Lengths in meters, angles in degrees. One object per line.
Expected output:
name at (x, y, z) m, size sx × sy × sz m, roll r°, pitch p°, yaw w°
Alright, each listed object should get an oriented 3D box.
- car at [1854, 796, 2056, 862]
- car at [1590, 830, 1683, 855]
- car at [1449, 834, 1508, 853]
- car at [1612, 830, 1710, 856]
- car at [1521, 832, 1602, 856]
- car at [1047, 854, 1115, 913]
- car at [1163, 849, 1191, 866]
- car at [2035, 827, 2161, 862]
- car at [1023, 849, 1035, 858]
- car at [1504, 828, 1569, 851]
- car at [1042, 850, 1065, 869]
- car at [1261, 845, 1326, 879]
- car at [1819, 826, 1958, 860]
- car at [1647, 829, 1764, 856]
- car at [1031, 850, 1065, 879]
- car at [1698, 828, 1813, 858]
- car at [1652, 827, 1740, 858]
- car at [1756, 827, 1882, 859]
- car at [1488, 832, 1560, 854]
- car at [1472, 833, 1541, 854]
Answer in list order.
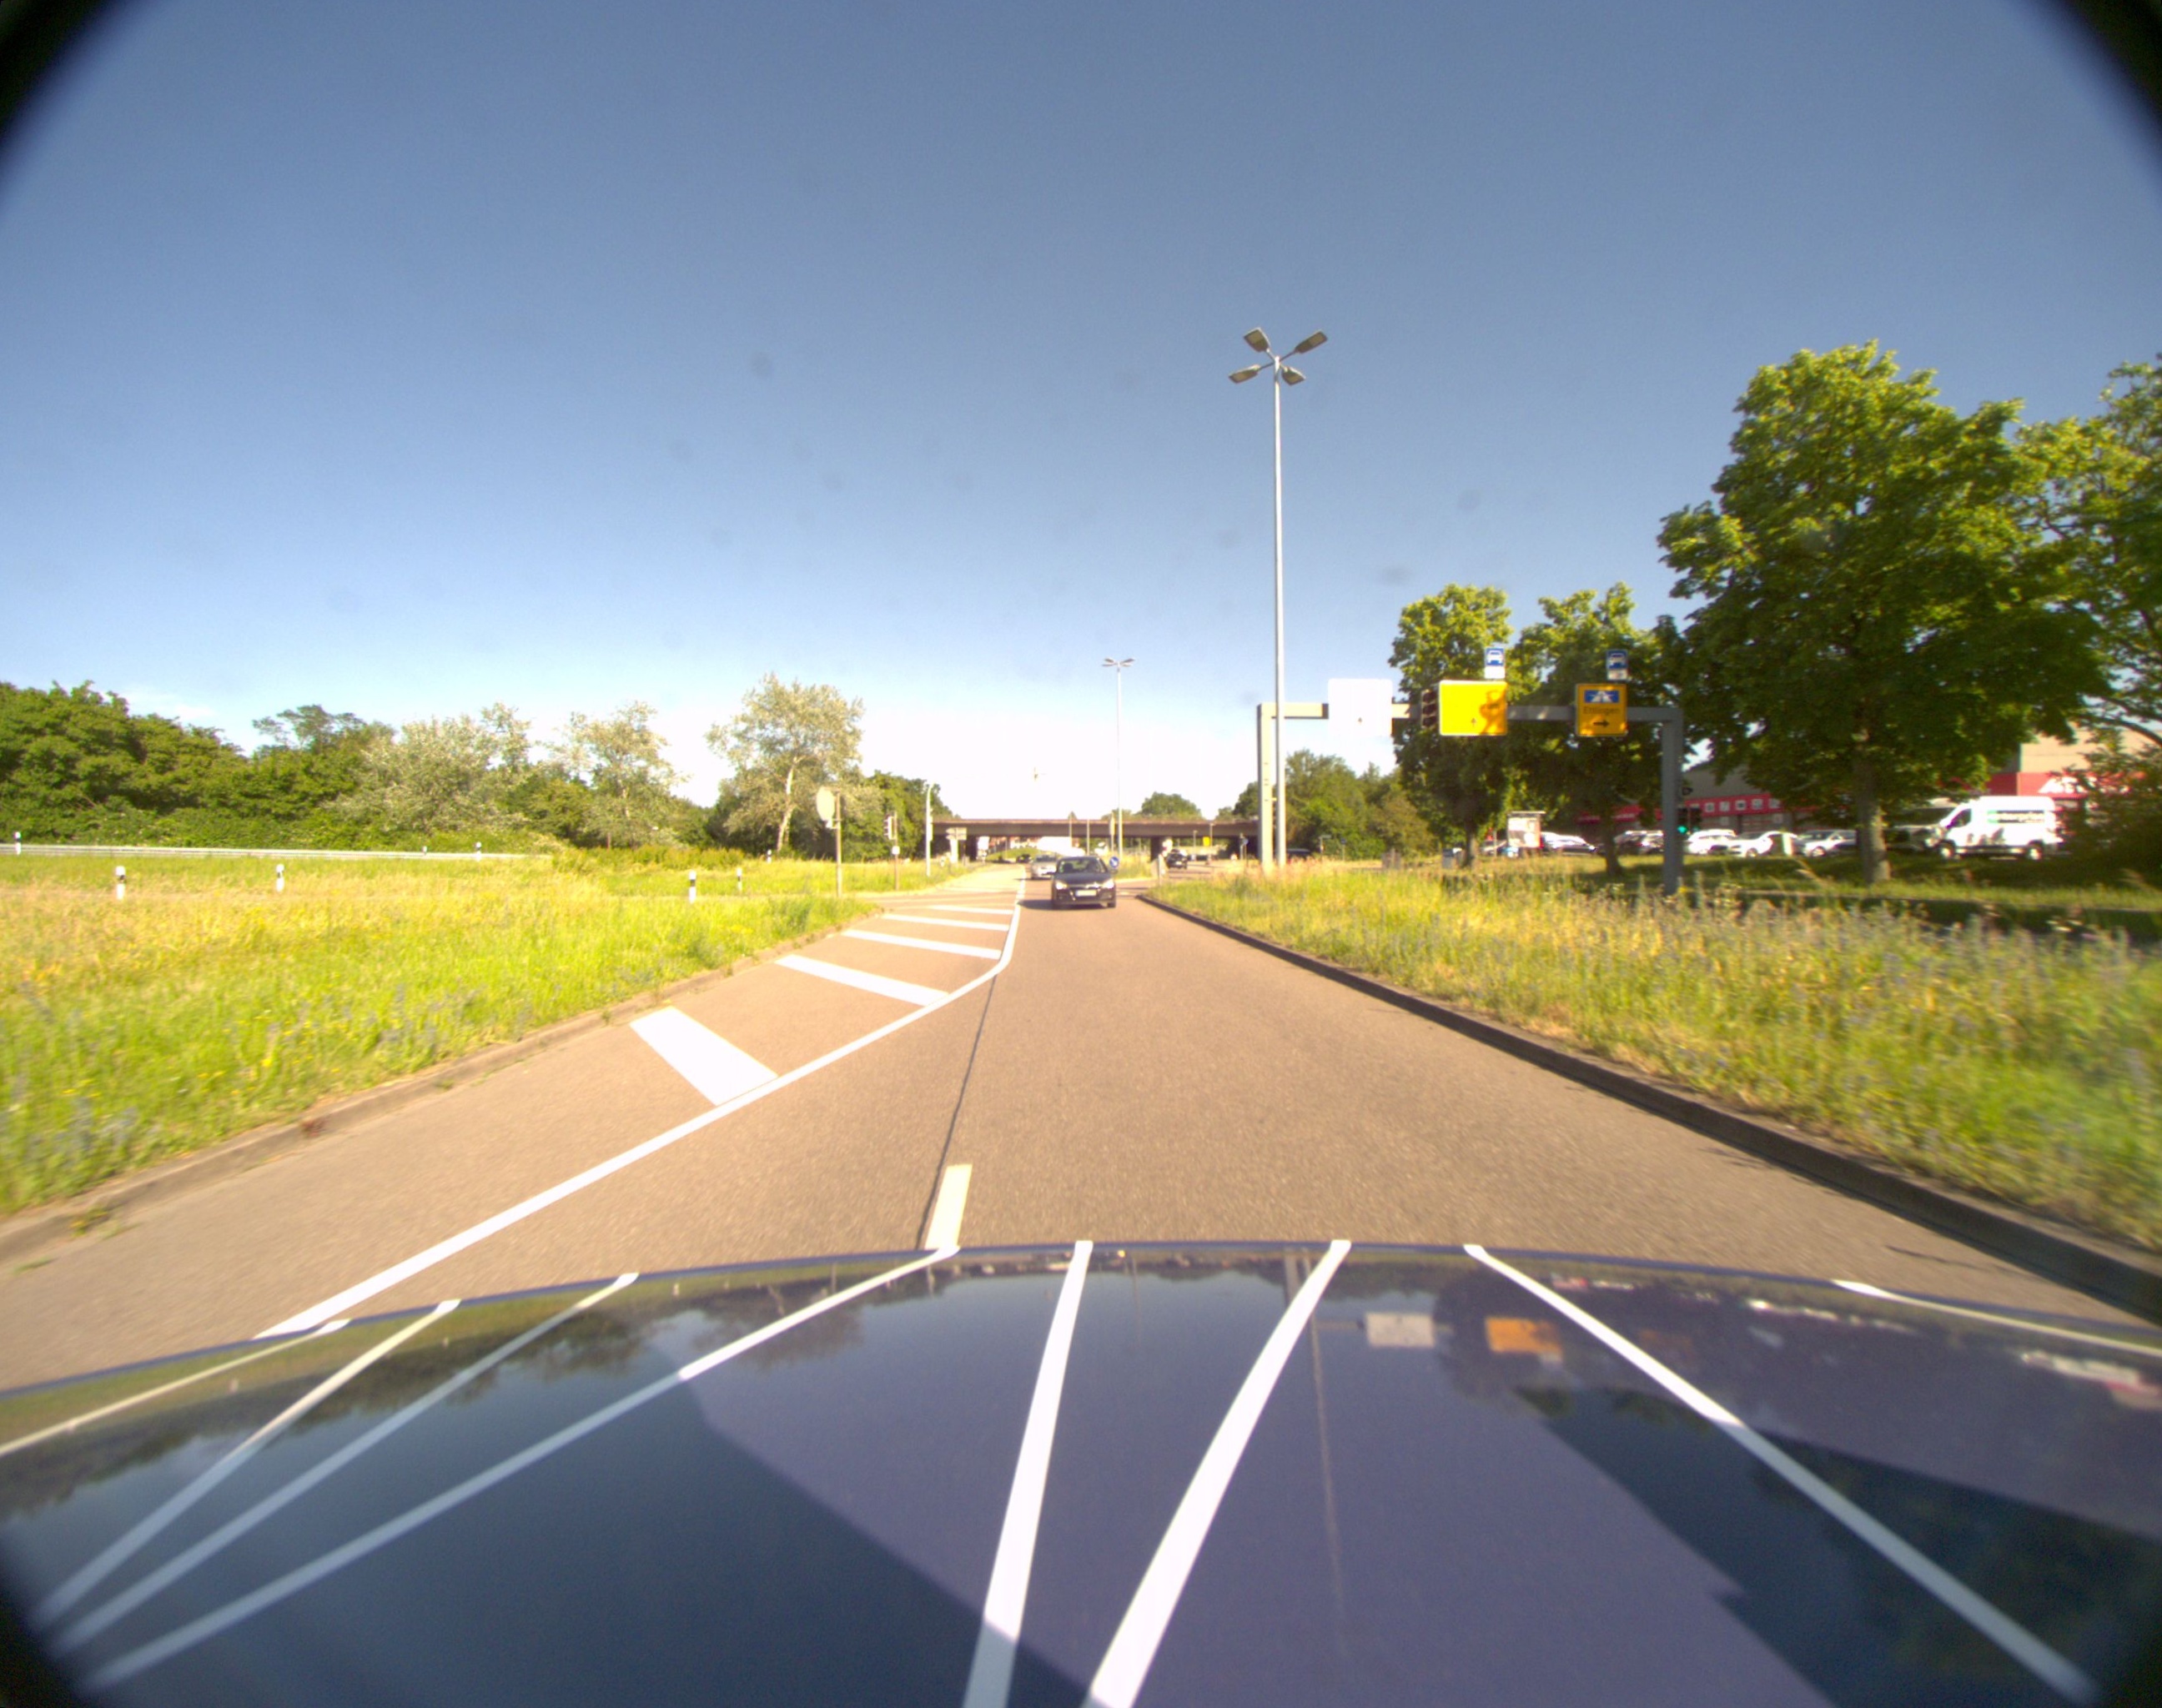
car at (33.658, -0.944, 29.358) m, size 5.896 × 2.419 × 2.205 m, roll 0°, pitch 1°, yaw -7°
car at (32.427, -0.652, 44.441) m, size 4.130 × 1.380 × 1.945 m, roll 0°, pitch 0°, yaw -5°
car at (33.270, -0.871, 63.754) m, size 4.122 × 1.542 × 1.898 m, roll 0°, pitch 1°, yaw 18°
car at (32.100, -0.600, 42.119) m, size 4.131 × 1.380 × 1.945 m, roll 0°, pitch 0°, yaw -7°
car at (31.431, -0.639, 49.784) m, size 4.129 × 1.542 × 1.946 m, roll 0°, pitch 0°, yaw -1°
car at (0.062, 0.769, 21.829) m, size 1.706 × 1.447 × 3.959 m, roll -3°, pitch 1°, yaw 2°
car at (9.340, 0.338, 74.261) m, size 1.881 × 1.534 × 4.570 m, roll 1°, pitch 0°, yaw -3°
car at (44.643, -0.405, 32.997) m, size 4.129 × 1.447 × 1.895 m, roll 0°, pitch 0°, yaw -1°
car at (-8.890, -0.058, 130.207) m, size 1.827 × 1.528 × 4.041 m, roll -1°, pitch 0°, yaw -1°
car at (43.299, -1.347, 72.324) m, size 1.899 × 2.139 × 5.033 m, roll -1°, pitch 1°, yaw -36°
car at (-2.444, 0.459, 66.243) m, size 1.827 × 1.528 × 4.040 m, roll -1°, pitch 0°, yaw -4°
car at (11.458, 0.404, 41.241) m, size 1.948 × 1.687 × 4.628 m, roll 1°, pitch 0°, yaw -4°
car at (33.929, -0.461, 31.984) m, size 4.131 × 1.380 × 1.945 m, roll 0°, pitch 0°, yaw -7°
car at (32.692, -0.582, 39.865) m, size 4.632 × 1.380 × 1.946 m, roll 0°, pitch 0°, yaw -3°
car at (-1.940, 0.585, 43.733) m, size 1.827 × 1.528 × 4.040 m, roll -1°, pitch 1°, yaw -4°
car at (32.857, -0.523, 37.087) m, size 4.131 × 1.380 × 1.945 m, roll 0°, pitch 0°, yaw -7°
car at (41.298, -0.751, 51.203) m, size 1.784 × 1.945 × 5.129 m, roll 0°, pitch 0°, yaw 0°
car at (33.525, -0.497, 34.573) m, size 4.131 × 1.380 × 1.945 m, roll 0°, pitch 0°, yaw -7°
car at (32.113, -0.755, 55.133) m, size 4.128 × 1.542 × 1.818 m, roll 0°, pitch 1°, yaw 1°
car at (32.150, -0.770, 57.515) m, size 4.126 × 1.542 × 1.896 m, roll 0°, pitch 1°, yaw 7°
